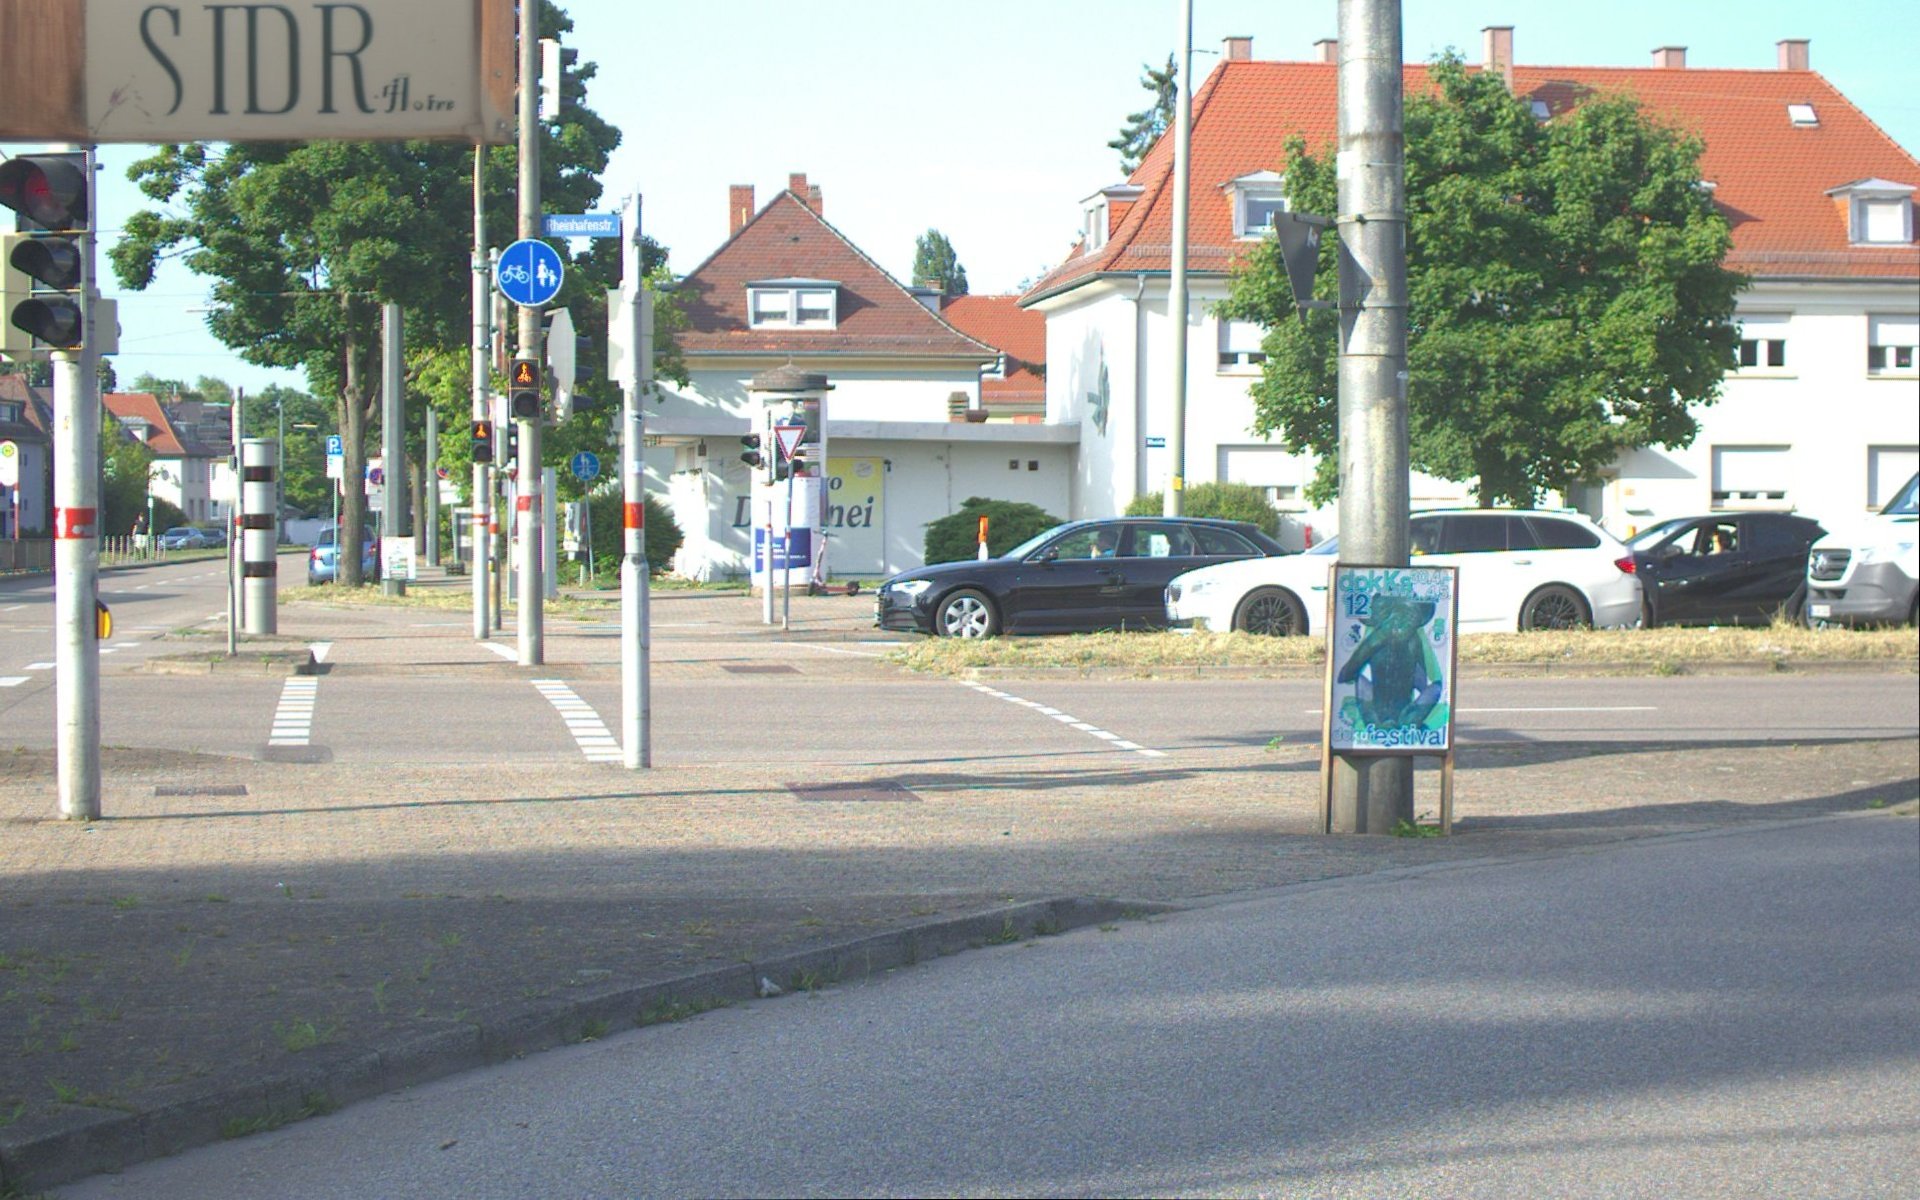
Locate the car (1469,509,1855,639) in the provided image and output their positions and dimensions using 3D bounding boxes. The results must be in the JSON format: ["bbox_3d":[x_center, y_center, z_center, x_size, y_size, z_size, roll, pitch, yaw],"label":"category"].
[{"bbox_3d":[8.023,-0.315,39.459,3.986,1.448,1.716,0,1,-8],"label":"car"}]

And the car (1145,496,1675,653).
[{"bbox_3d":[4.588,-0.284,35.361,5.093,1.557,1.840,0,1,-8],"label":"car"}]

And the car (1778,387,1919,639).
[{"bbox_3d":[12.062,-0.917,36.600,6.206,2.574,2.001,0,1,-9],"label":"car"}]

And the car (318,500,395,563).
[{"bbox_3d":[-14.217,-1.599,81.144,1.674,1.393,4.001,1,0,-9],"label":"car"}]

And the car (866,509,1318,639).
[{"bbox_3d":[1.442,-0.313,38.527,4.822,1.406,1.716,0,1,-8],"label":"car"}]
